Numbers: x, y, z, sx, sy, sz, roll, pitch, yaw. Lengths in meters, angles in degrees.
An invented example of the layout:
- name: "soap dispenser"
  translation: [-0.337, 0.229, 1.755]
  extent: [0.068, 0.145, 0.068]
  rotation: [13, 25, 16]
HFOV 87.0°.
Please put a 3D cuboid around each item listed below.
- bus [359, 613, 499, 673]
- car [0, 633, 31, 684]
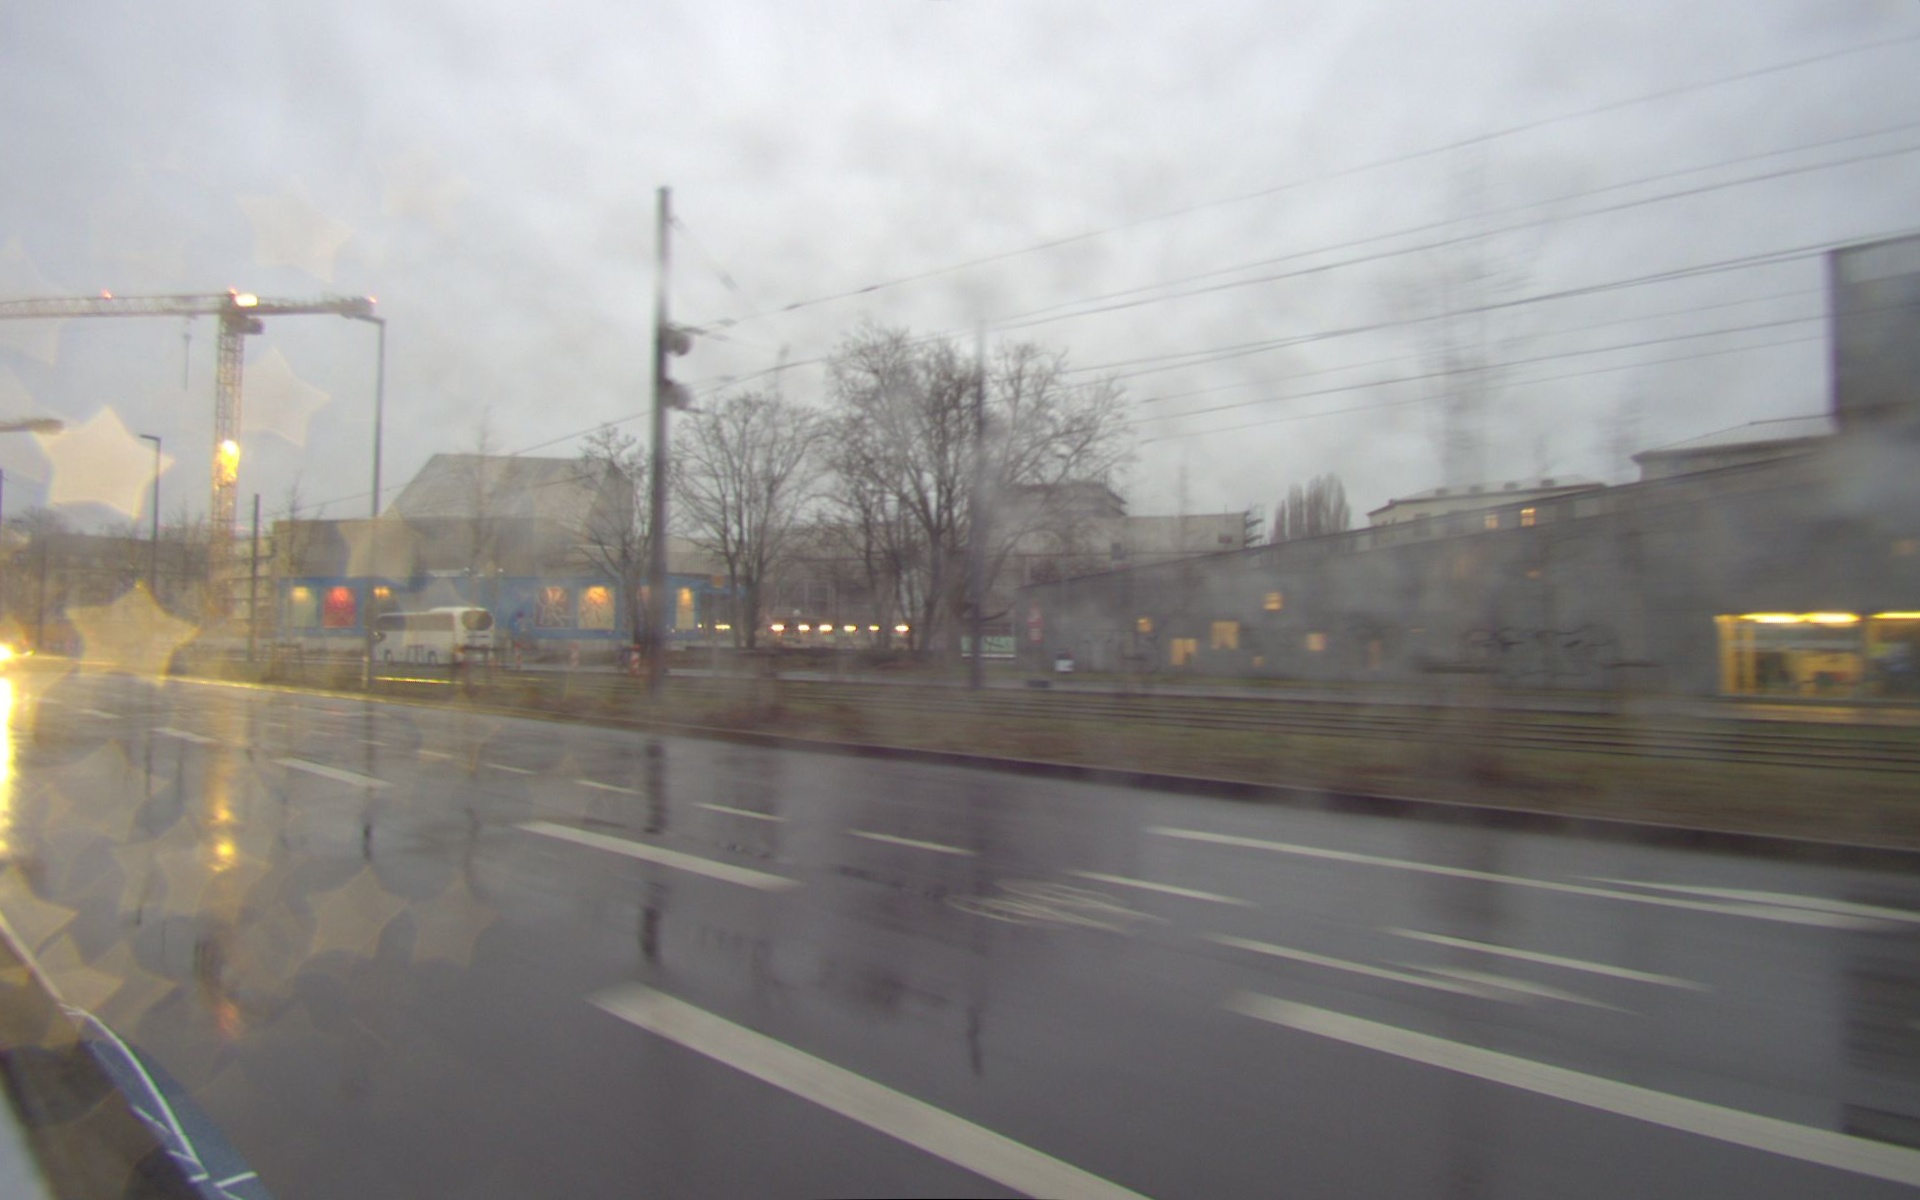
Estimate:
- name: "bus"
  translation: [-34.470, 2.800, 65.367]
  extent: [12.282, 3.605, 2.781]
  rotation: [-2, -4, 36]
- name: "car"
  translation: [-35.235, 2.102, 36.763]
  extent: [4.610, 1.756, 1.684]
  rotation: [-2, -4, 42]
